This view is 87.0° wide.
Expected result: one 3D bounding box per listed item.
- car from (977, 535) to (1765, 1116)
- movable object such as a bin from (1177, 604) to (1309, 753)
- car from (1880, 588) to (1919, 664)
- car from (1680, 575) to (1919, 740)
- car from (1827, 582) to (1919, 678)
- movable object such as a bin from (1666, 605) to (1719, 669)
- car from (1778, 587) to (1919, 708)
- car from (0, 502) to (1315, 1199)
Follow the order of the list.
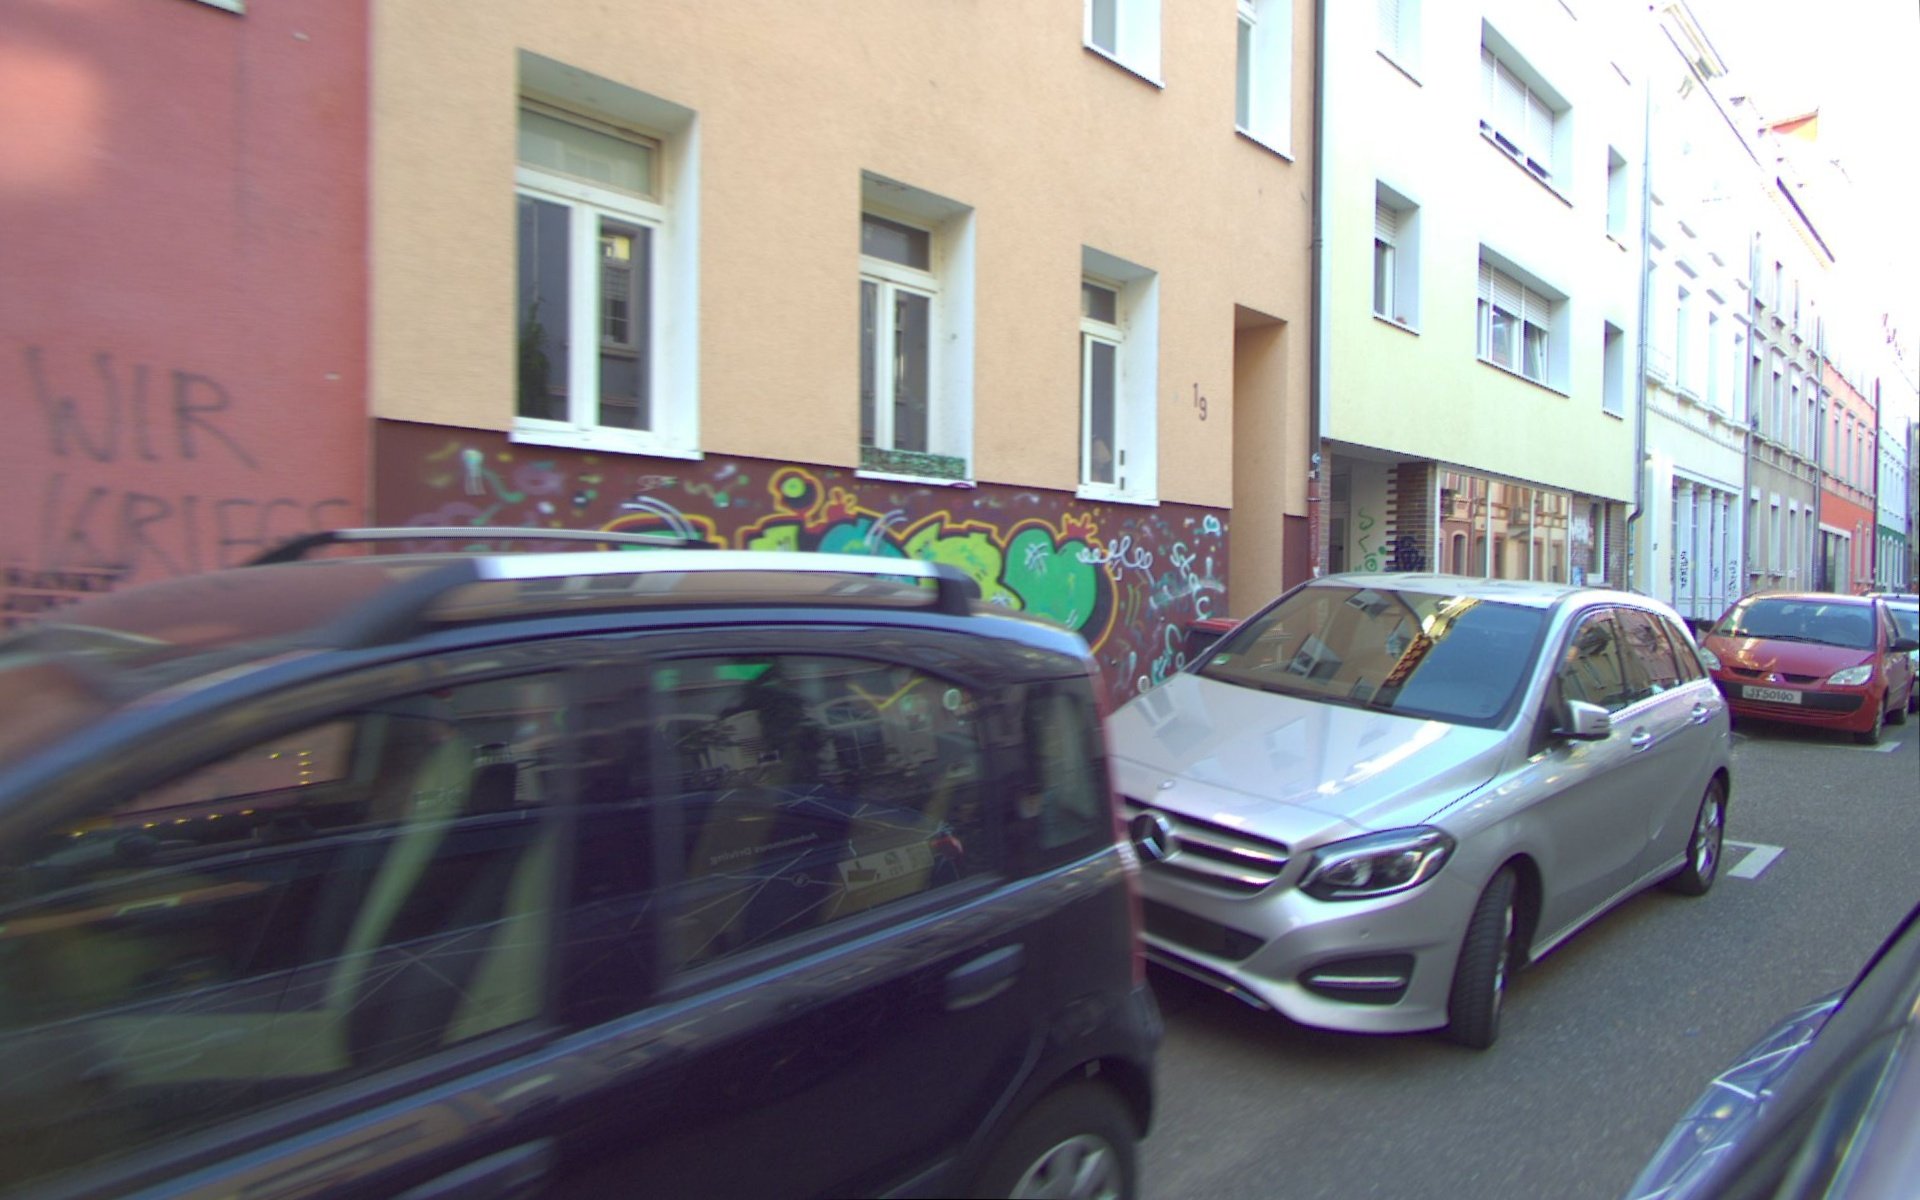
[{"bbox_3d":[2.188,0.582,4.749,4.098,1.575,1.749,0,1,-41],"label":"car"},{"bbox_3d":[2.266,0.595,8.111,0.724,1.070,0.694,0,4,-41],"label":"movable object such as a bin"},{"bbox_3d":[21.375,0.523,21.901,4.305,1.541,1.764,0,1,-42],"label":"car"},{"bbox_3d":[9.919,0.534,11.685,3.910,1.541,1.701,0,3,-41],"label":"car"},{"bbox_3d":[17.262,0.499,18.359,3.931,1.570,1.792,0,2,-42],"label":"car"},{"bbox_3d":[13.310,0.662,18.388,0.547,1.112,0.665,0,0,-40],"label":"movable object such as a bin"},{"bbox_3d":[13.306,0.592,14.642,4.123,1.470,1.690,0,3,-43],"label":"car"},{"bbox_3d":[-1.038,0.638,1.782,3.390,1.558,1.606,0,4,-41],"label":"car"}]
